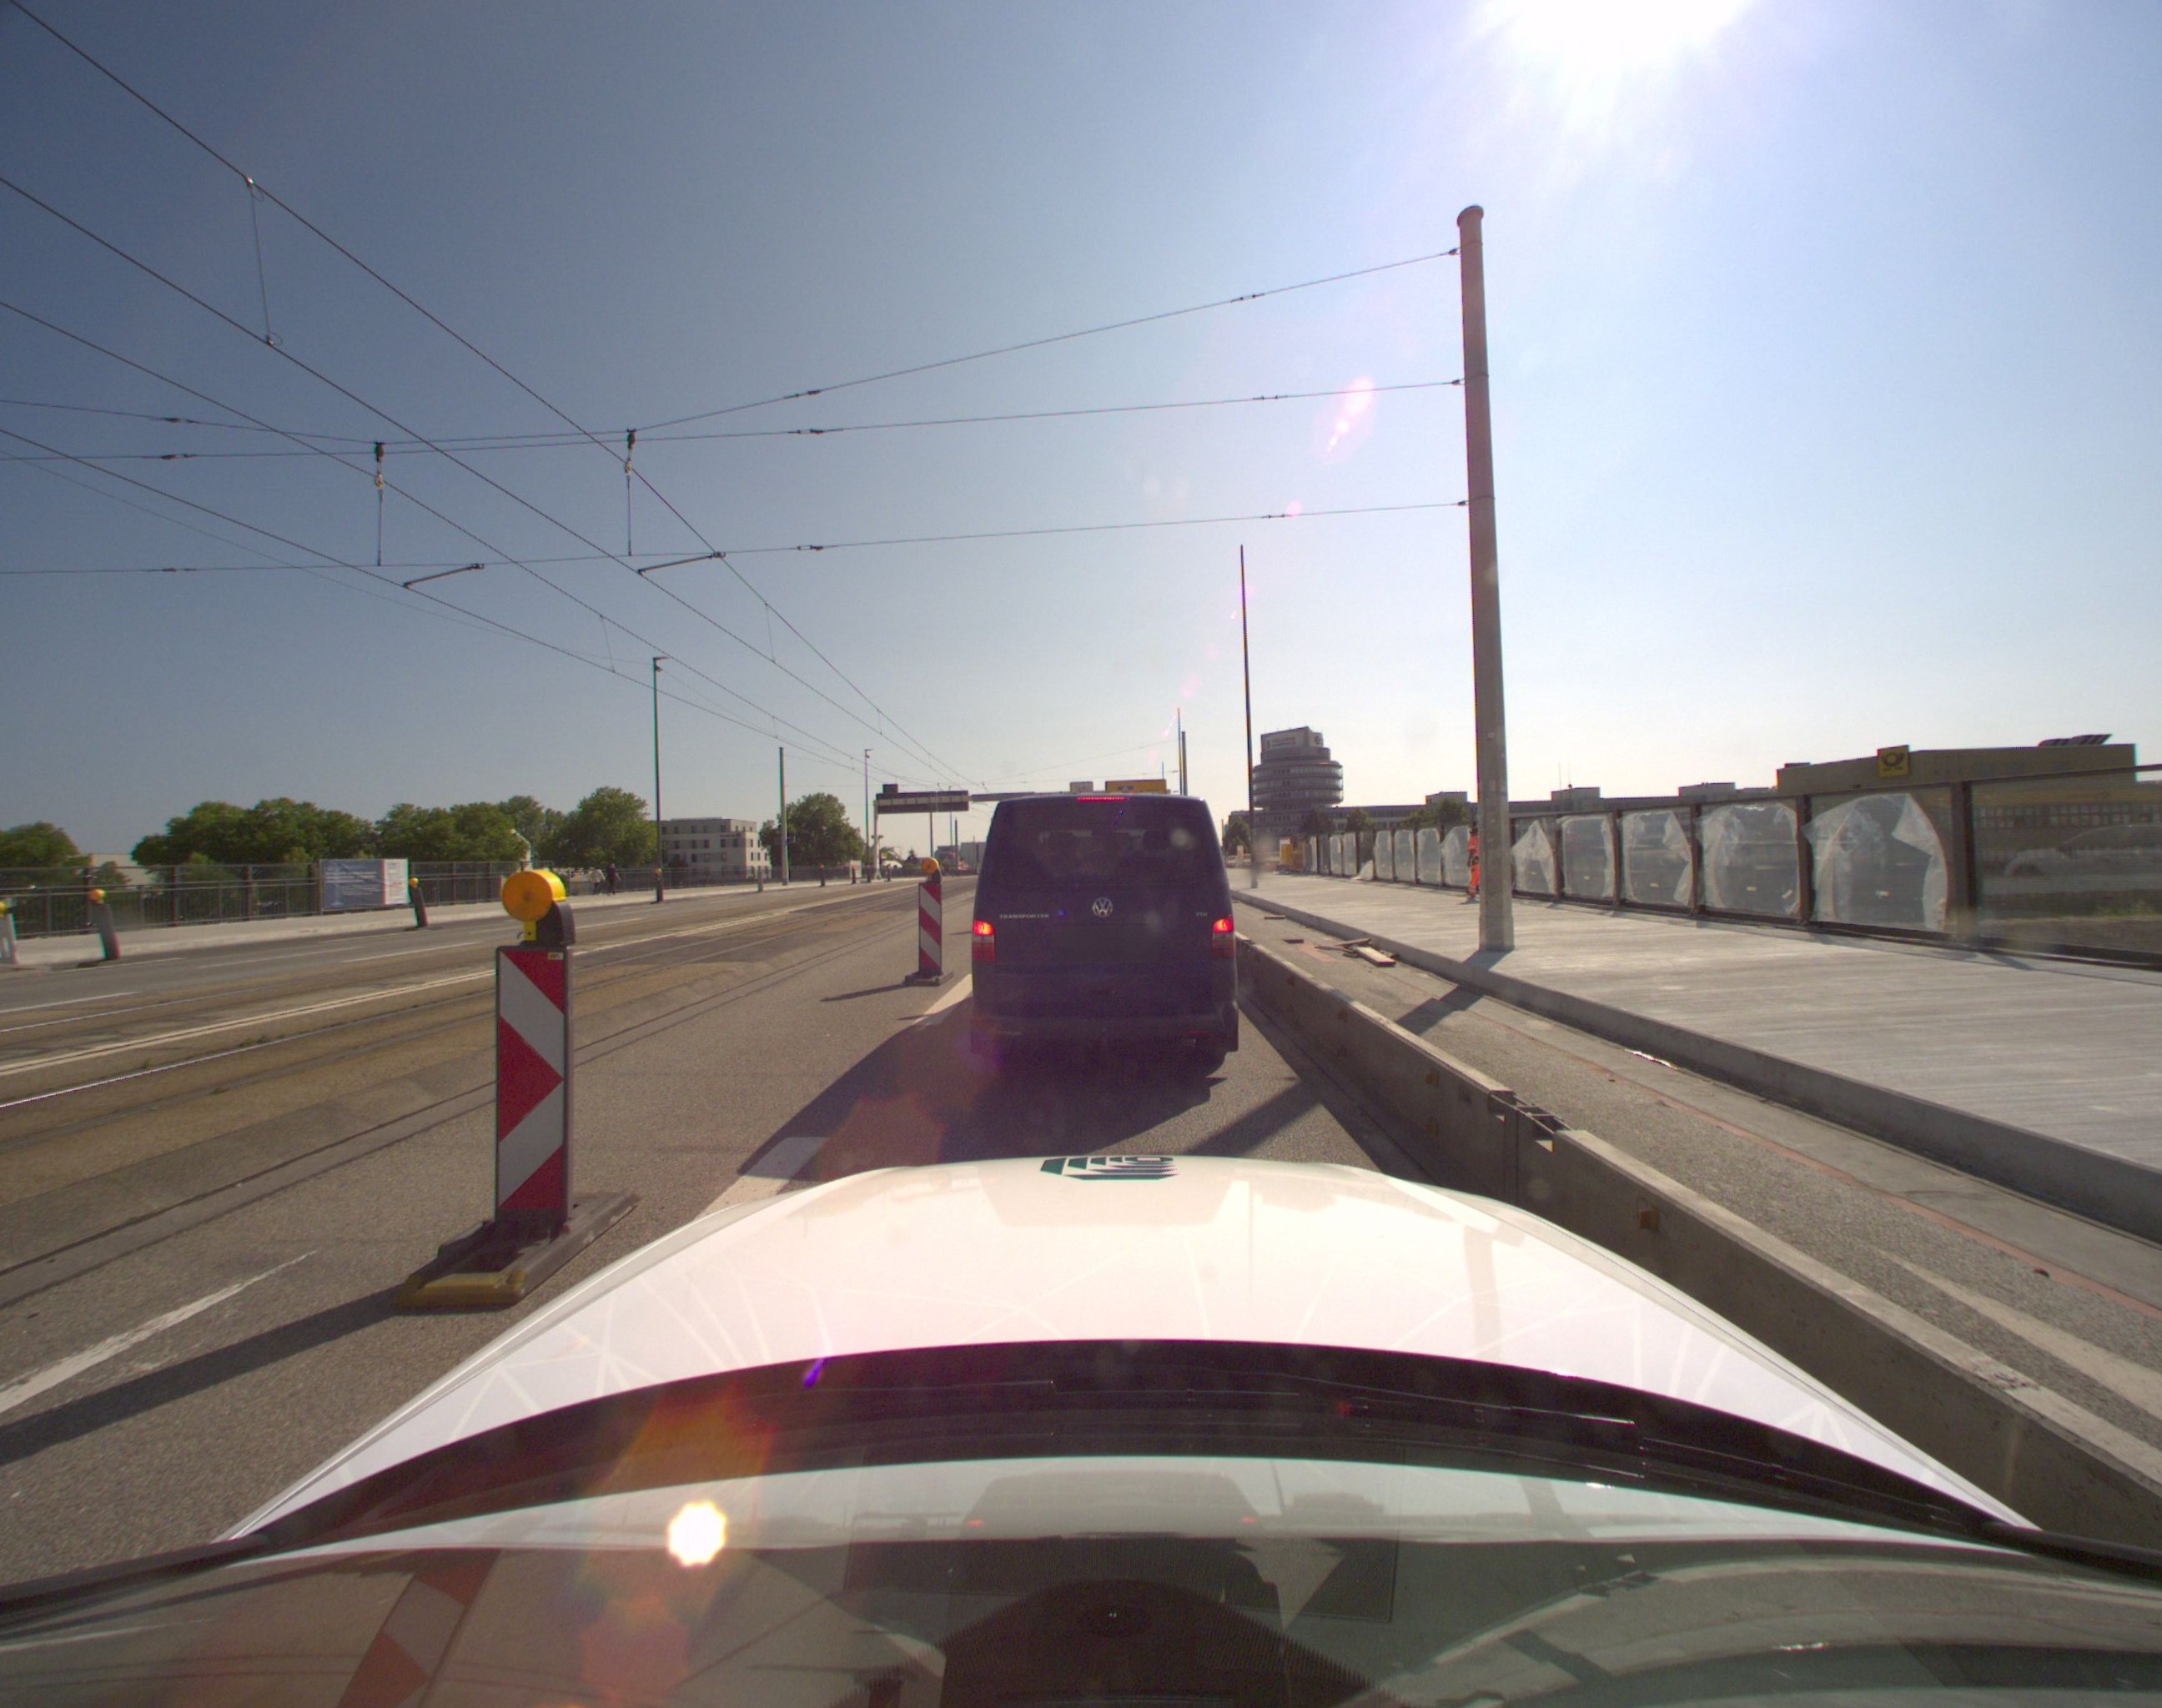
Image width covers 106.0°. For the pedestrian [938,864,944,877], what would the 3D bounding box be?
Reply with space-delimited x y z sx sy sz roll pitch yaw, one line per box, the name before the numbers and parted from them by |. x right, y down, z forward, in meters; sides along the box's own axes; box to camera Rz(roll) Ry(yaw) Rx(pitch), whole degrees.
pedestrian | -19.916 2.351 116.025 0.631 1.774 0.752 -1 0 1

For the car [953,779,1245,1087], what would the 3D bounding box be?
car | 0.113 0.498 7.199 1.810 1.905 4.053 -1 0 0

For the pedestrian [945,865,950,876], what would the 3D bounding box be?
pedestrian | -19.509 2.346 118.927 0.631 1.598 0.752 -1 0 1

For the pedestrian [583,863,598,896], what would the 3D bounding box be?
pedestrian | -25.413 1.325 42.196 0.493 1.694 0.474 -1 -1 1

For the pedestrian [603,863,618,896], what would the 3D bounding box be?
pedestrian | -24.398 1.301 42.218 0.493 1.694 0.474 -1 -1 1

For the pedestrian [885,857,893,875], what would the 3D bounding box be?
pedestrian | -20.361 1.298 86.518 0.631 1.893 0.752 -1 0 1

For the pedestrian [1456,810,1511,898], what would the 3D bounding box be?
pedestrian | 9.159 -0.001 18.566 0.779 1.935 0.800 -3 -1 1

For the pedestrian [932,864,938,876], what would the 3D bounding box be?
pedestrian | -20.792 2.272 115.830 0.632 1.752 0.752 -1 0 1
